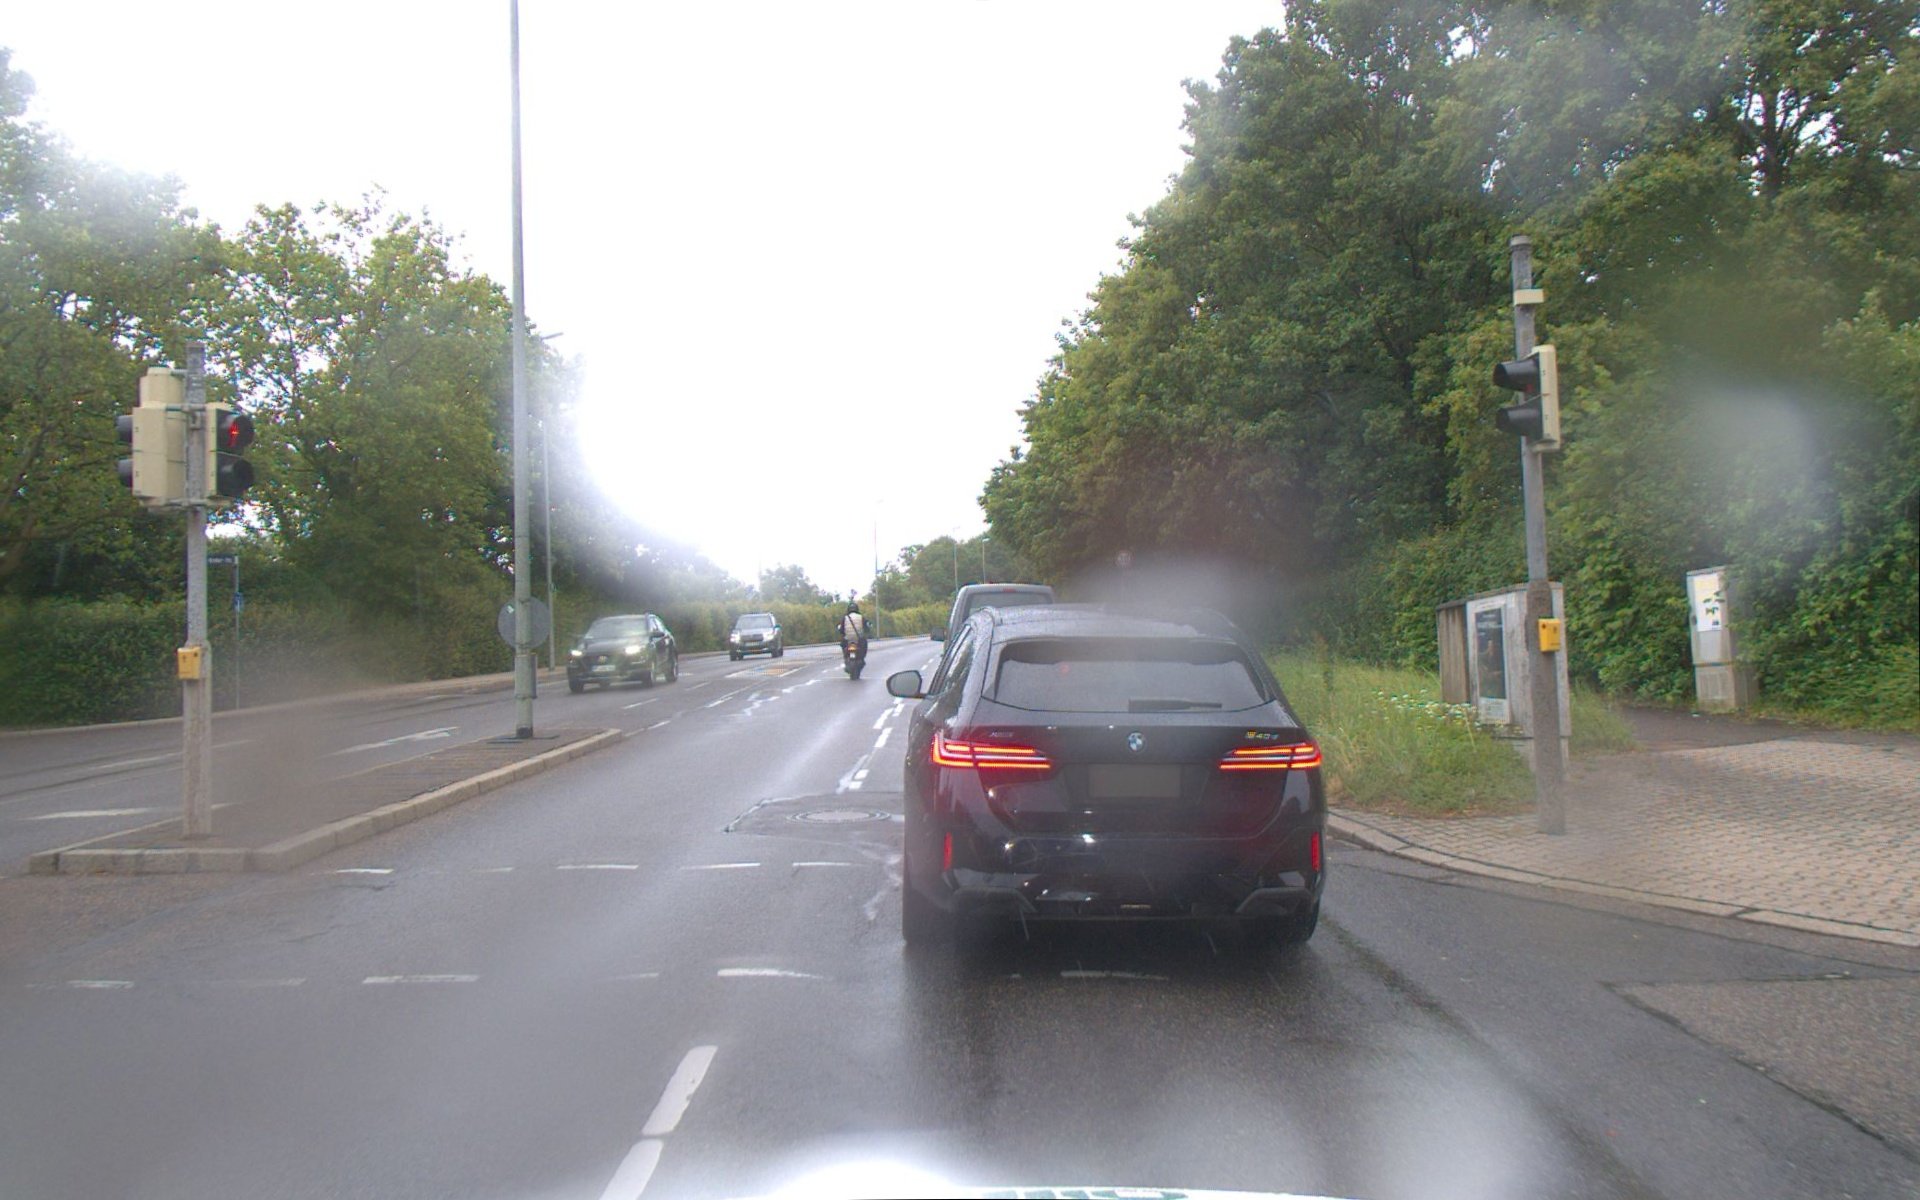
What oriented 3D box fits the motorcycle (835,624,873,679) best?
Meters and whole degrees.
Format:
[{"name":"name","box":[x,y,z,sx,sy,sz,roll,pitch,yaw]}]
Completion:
[{"name":"motorcycle","box":[-2.339,1.119,36.567,0.726,1.139,1.426,-1,1,1]}]

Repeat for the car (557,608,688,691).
[{"name":"car","box":[-7.278,1.035,36.043,1.984,1.590,3.876,-3,0,0]}]

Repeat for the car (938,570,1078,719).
[{"name":"car","box":[0.627,0.528,22.667,1.730,1.841,3.906,-1,1,1]}]

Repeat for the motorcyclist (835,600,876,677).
[{"name":"motorcyclist","box":[-2.312,0.843,36.590,0.828,1.676,0.468,-2,0,0]}]

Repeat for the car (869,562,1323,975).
[{"name":"car","box":[0.551,0.655,8.243,1.728,1.563,3.673,-1,0,1]}]

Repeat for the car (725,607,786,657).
[{"name":"car","box":[-7.387,1.138,60.033,1.759,1.630,3.731,-3,0,-1]}]
